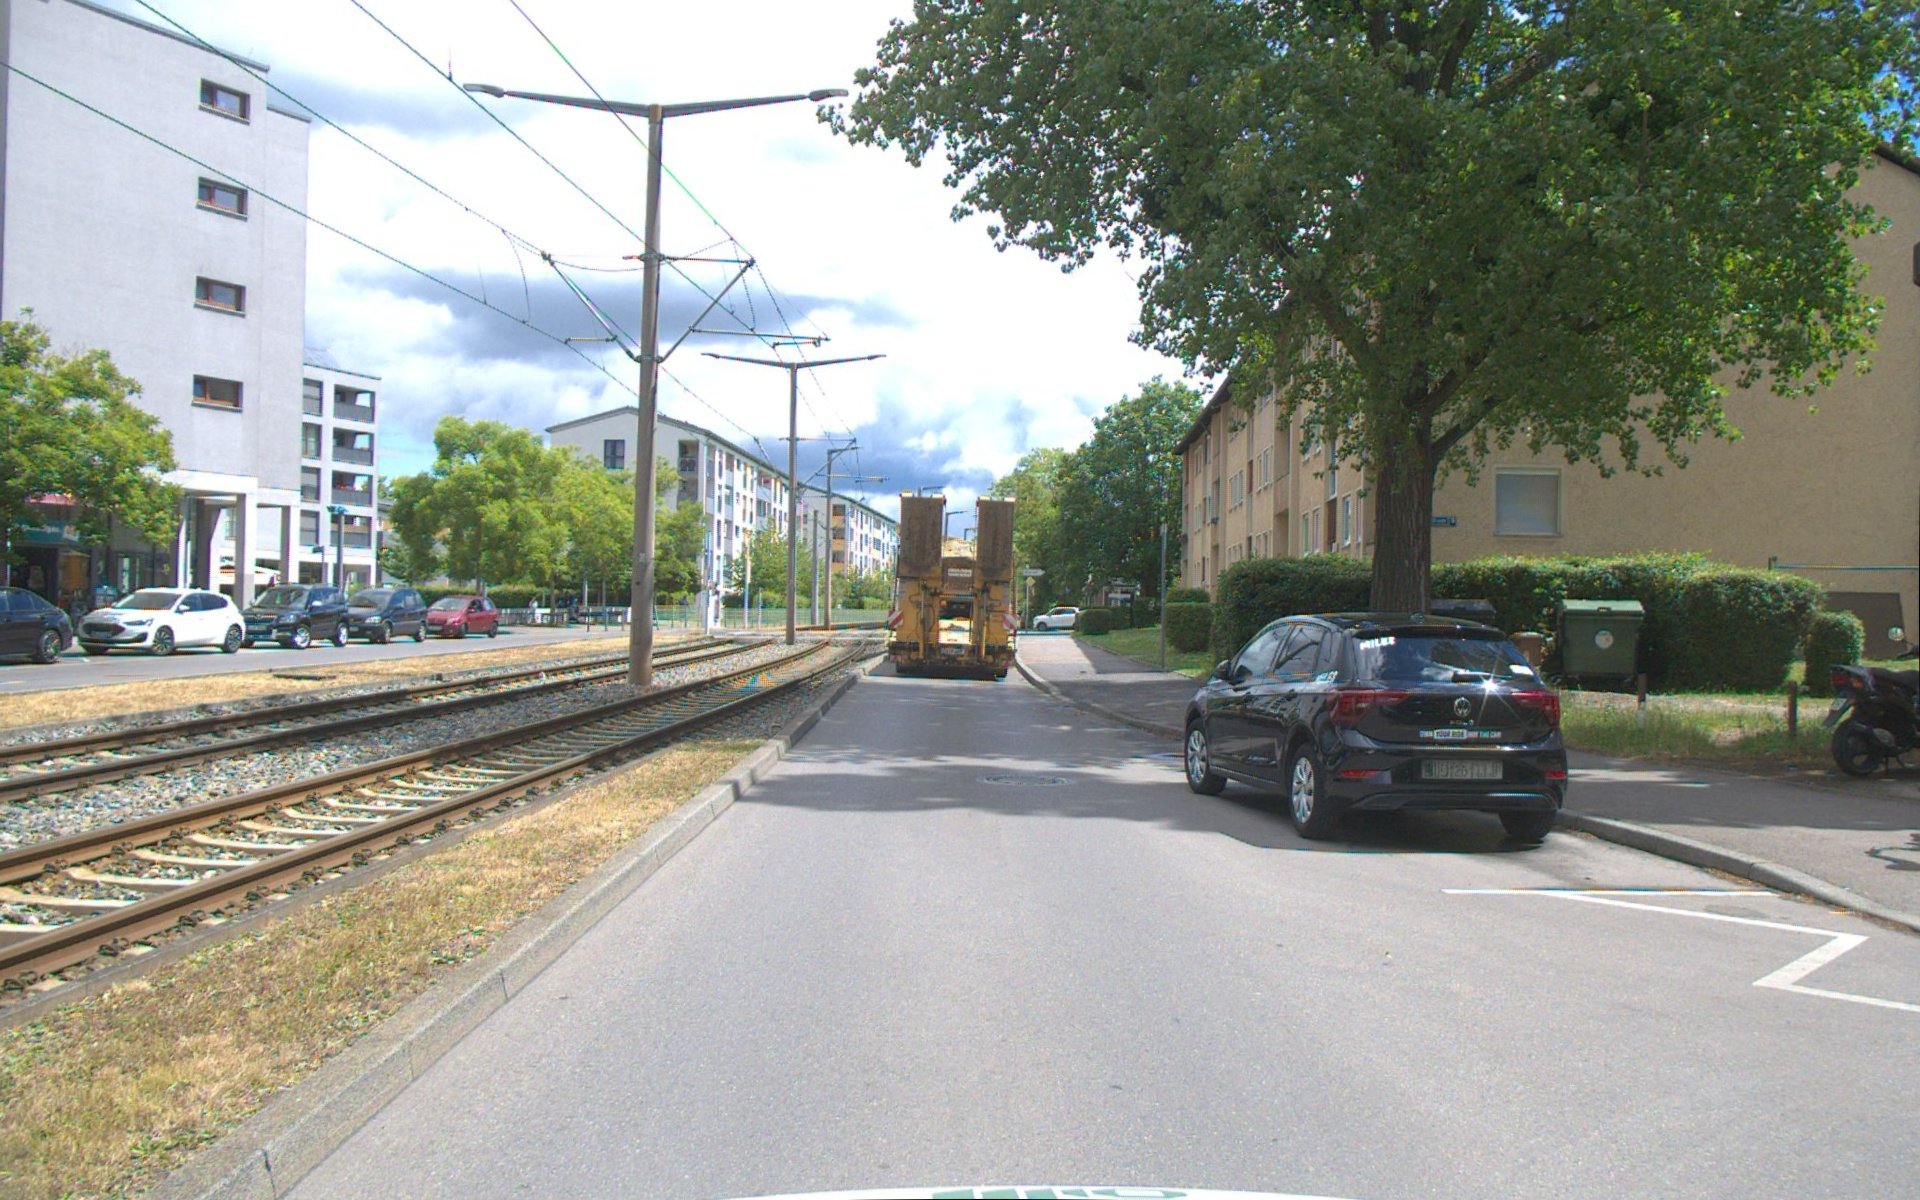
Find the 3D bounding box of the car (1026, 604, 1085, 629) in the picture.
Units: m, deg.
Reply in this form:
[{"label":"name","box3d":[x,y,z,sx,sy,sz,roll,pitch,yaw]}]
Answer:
[{"label":"car","box3d":[6.187,1.057,106.681,3.521,1.612,2.001,0,-1,14]}]

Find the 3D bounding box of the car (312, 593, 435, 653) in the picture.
[{"label":"car","box3d":[-17.465,0.652,49.486,1.951,1.676,4.102,0,1,4]}]

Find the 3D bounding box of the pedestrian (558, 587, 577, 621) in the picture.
[{"label":"pedestrian","box3d":[-18.965,0.187,79.939,0.609,1.600,0.698,0,0,13]}]

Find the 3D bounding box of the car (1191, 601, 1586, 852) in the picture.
[{"label":"car","box3d":[2.900,0.774,12.059,1.778,1.474,3.825,0,1,-2]}]

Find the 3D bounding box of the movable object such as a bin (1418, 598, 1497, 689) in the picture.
[{"label":"movable object such as a bin","box3d":[8.243,0.709,27.453,1.075,1.464,0.761,0,0,-1]}]

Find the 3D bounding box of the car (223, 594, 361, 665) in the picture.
[{"label":"car","box3d":[-17.520,0.724,43.608,1.953,1.691,4.100,1,1,0]}]

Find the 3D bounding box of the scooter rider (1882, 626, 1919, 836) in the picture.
[{"label":"scooter rider","box3d":[6.194,0.798,9.682,0.867,1.241,1.282,0,1,-1]}]

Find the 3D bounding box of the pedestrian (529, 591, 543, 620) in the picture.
[{"label":"pedestrian","box3d":[-22.624,0.286,88.262,0.533,1.574,0.528,0,0,23]}]

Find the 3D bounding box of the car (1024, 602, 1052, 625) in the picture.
[{"label":"car","box3d":[5.707,0.973,121.209,1.952,1.646,4.001,0,1,1]}]

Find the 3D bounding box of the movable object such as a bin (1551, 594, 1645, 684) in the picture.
[{"label":"movable object such as a bin","box3d":[10.615,0.633,27.545,1.145,1.464,1.057,0,1,-1]}]

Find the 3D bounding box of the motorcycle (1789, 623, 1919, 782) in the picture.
[{"label":"motorcycle","box3d":[7.923,0.832,13.918,1.769,1.231,0.708,-1,1,-21]}]

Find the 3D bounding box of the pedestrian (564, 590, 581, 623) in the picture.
[{"label":"pedestrian","box3d":[-18.963,0.337,80.868,0.609,1.600,0.558,0,0,13]}]

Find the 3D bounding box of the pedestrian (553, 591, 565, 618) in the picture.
[{"label":"pedestrian","box3d":[-19.078,0.220,78.779,0.492,1.289,0.497,-1,0,-21]}]

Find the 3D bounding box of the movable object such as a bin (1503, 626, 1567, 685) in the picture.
[{"label":"movable object such as a bin","box3d":[9.561,0.915,27.524,0.786,0.931,0.761,0,1,-1]}]

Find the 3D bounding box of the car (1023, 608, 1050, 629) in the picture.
[{"label":"car","box3d":[5.810,1.395,125.724,1.952,1.411,4.001,0,1,1]}]

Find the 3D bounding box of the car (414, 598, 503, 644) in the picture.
[{"label":"car","box3d":[-17.078,0.699,56.481,1.579,1.451,3.426,0,1,8]}]

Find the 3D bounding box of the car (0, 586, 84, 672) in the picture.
[{"label":"car","box3d":[-18.195,0.516,30.248,1.698,1.453,4.383,4,0,4]}]

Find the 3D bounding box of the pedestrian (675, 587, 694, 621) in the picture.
[{"label":"pedestrian","box3d":[-14.058,0.202,84.520,0.733,1.690,0.870,0,0,6]}]

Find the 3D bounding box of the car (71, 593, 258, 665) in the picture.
[{"label":"car","box3d":[-17.988,0.617,37.628,1.717,1.501,4.403,0,1,7]}]

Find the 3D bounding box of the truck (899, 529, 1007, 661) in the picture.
[{"label":"truck","box3d":[-0.212,-0.191,46.750,2.776,3.388,7.984,0,1,0]}]

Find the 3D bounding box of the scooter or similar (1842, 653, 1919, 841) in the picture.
[{"label":"scooter or similar","box3d":[6.198,0.908,9.722,0.872,1.083,2.114,0,1,-1]}]

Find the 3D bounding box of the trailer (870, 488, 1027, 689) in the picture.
[{"label":"trailer","box3d":[-0.261,-0.303,37.655,2.988,3.838,11.611,0,1,0]}]
